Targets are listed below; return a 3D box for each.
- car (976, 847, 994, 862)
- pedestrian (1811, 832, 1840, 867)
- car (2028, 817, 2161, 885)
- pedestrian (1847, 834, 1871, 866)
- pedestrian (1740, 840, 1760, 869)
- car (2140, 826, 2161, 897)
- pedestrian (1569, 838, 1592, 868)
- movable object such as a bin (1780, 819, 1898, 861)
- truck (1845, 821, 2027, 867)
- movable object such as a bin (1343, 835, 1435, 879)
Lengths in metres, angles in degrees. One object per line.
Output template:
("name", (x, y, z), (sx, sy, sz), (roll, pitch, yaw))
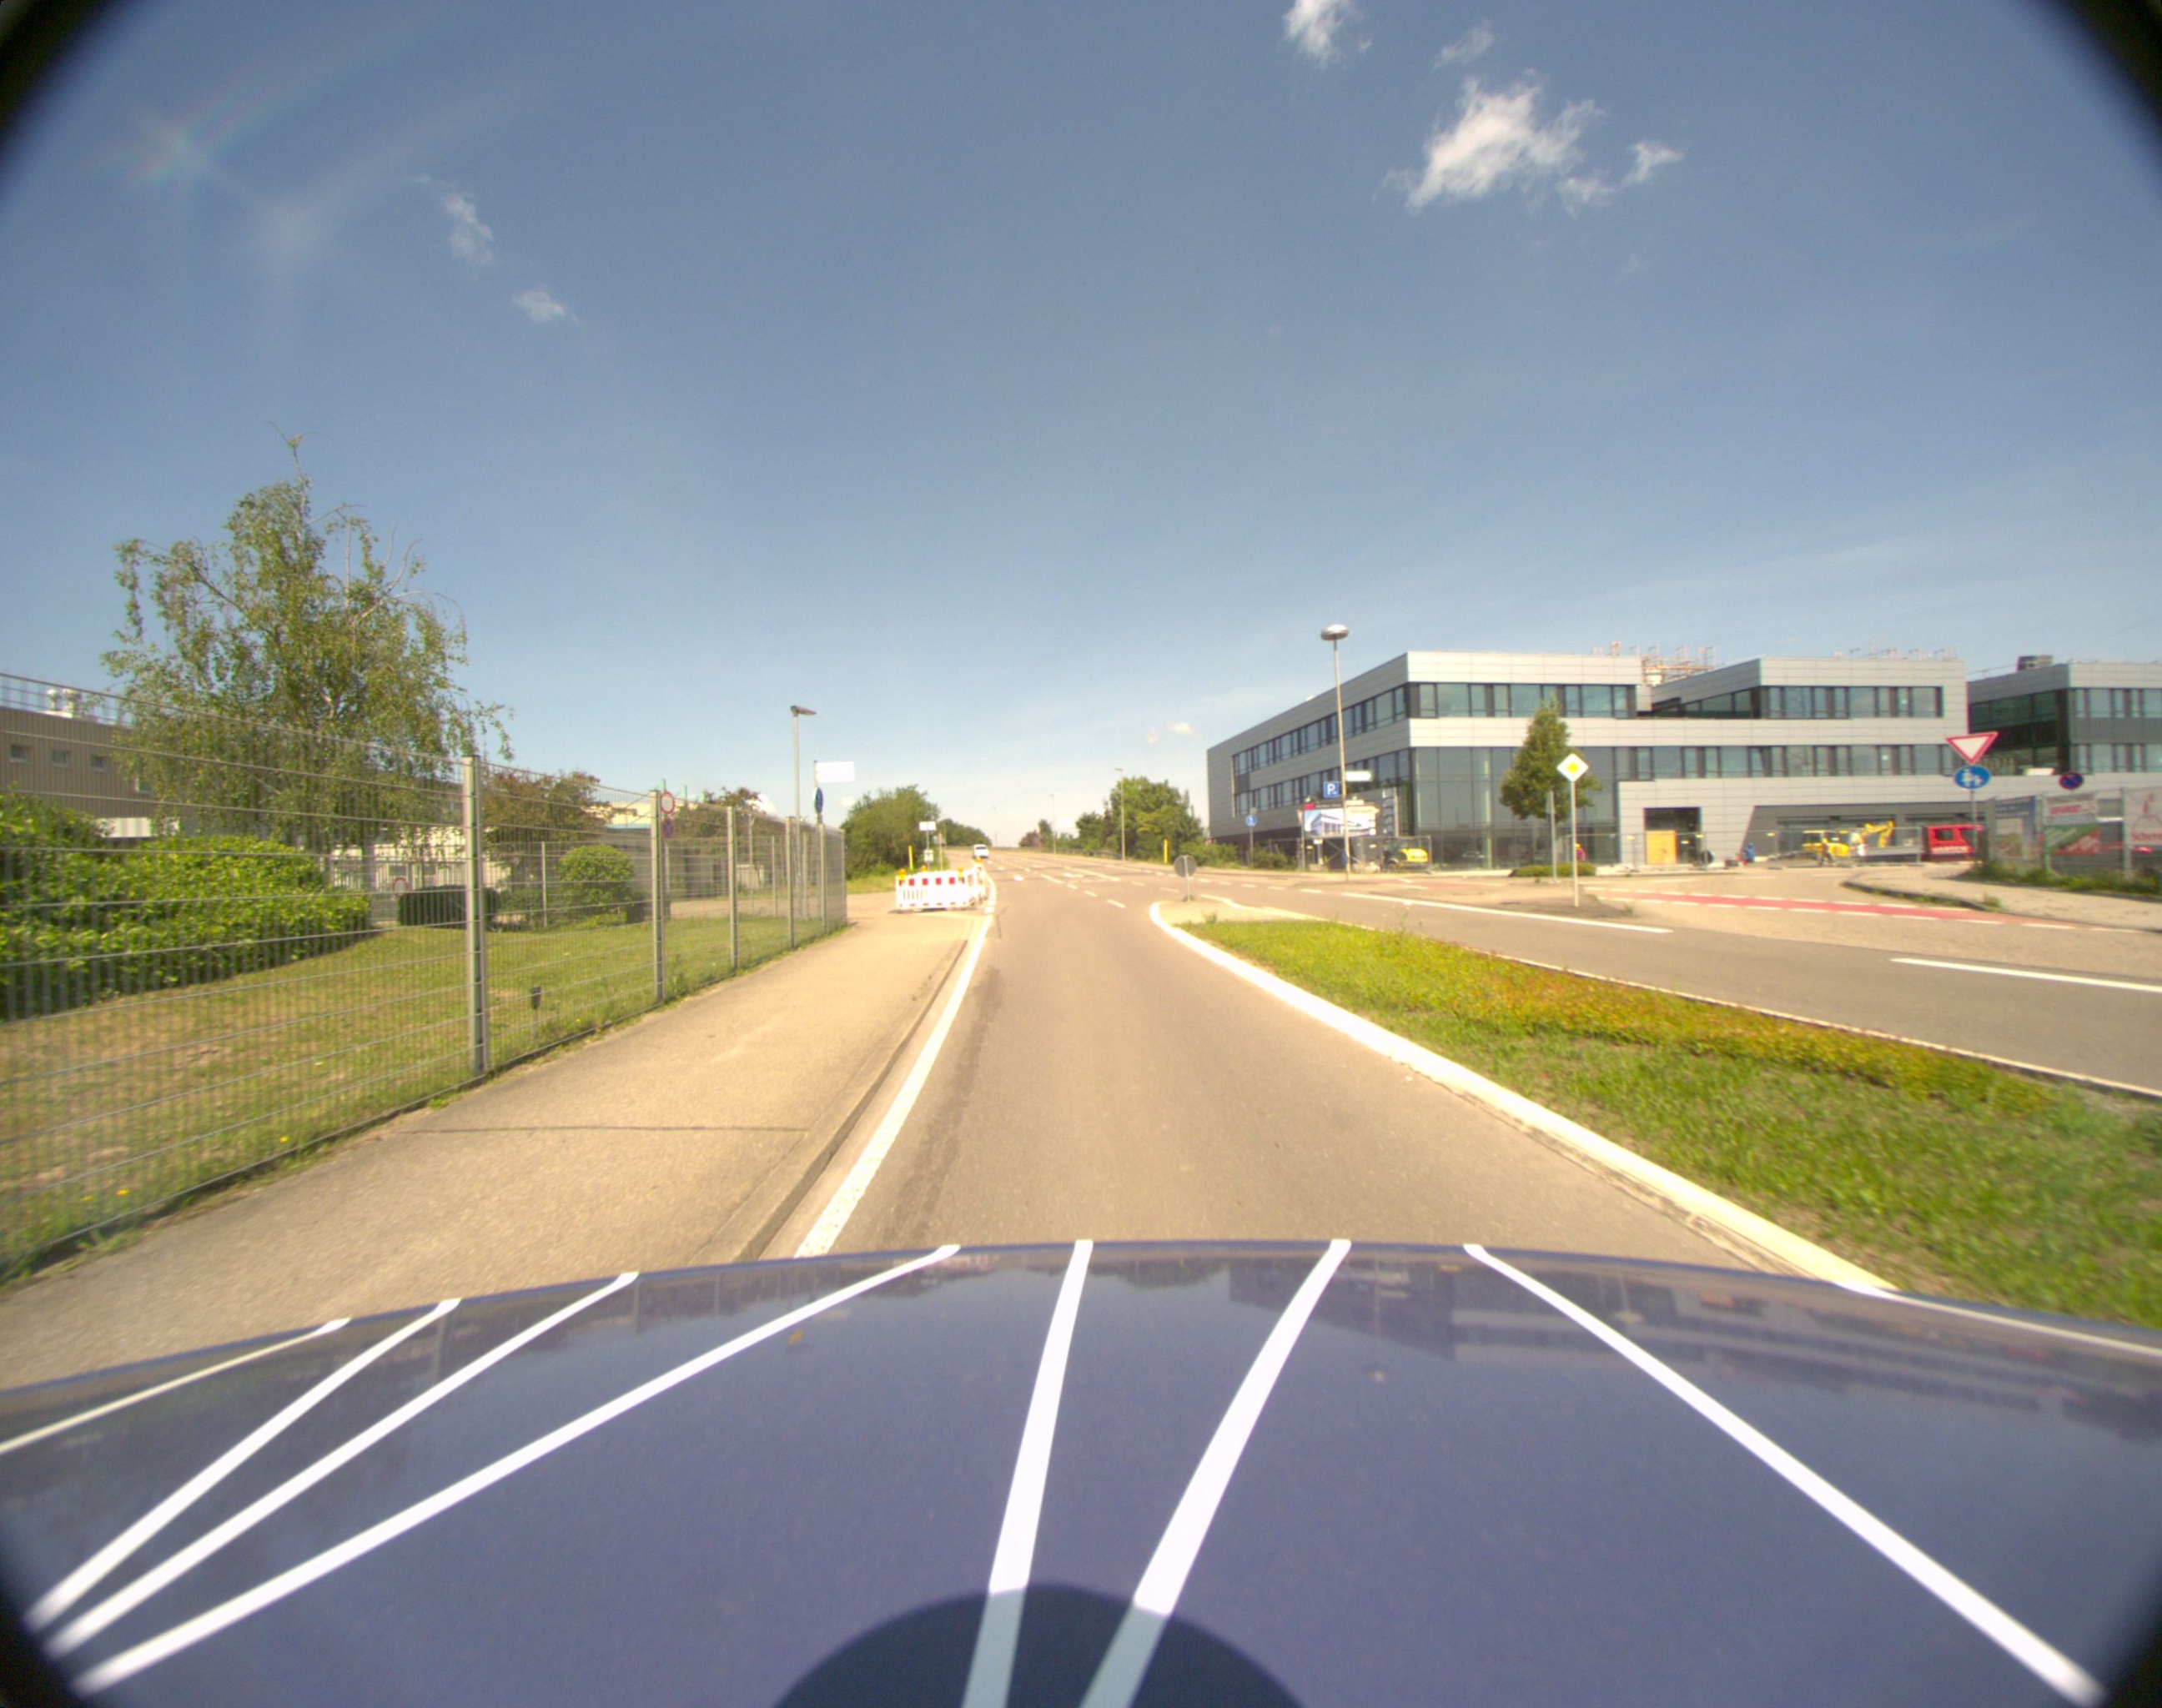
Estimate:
("car", (-12.815, 0.118, 101.224), (2.001, 1.903, 3.995), (-2, 0, -13))
("pedestrian", (41.347, -0.244, 42.214), (0.708, 1.868, 0.900), (-2, 1, -19))
("car", (22.513, -0.106, 15.372), (3.992, 1.313, 1.561), (-2, 0, 18))
("pedestrian", (42.032, -0.202, 41.058), (0.776, 1.718, 0.718), (-2, 1, -32))
("pedestrian", (40.673, 0.009, 46.214), (0.774, 1.718, 0.533), (-2, 1, -8))
("car", (21.738, 0.090, 12.891), (3.992, 1.313, 2.002), (-2, 0, 17))
("pedestrian", (29.053, -0.046, 44.174), (0.782, 1.718, 0.774), (-2, 1, -11))
("movable object such as a bin", (47.950, -0.892, 48.072), (6.383, 2.438, 3.379), (-2, 0, -26))
("truck", (45.304, -0.471, 40.448), (2.375, 2.221, 6.139), (-2, 0, -33))
("movable object such as a bin", (18.452, 0.181, 45.863), (2.173, 2.395, 5.453), (-2, 0, -17))
